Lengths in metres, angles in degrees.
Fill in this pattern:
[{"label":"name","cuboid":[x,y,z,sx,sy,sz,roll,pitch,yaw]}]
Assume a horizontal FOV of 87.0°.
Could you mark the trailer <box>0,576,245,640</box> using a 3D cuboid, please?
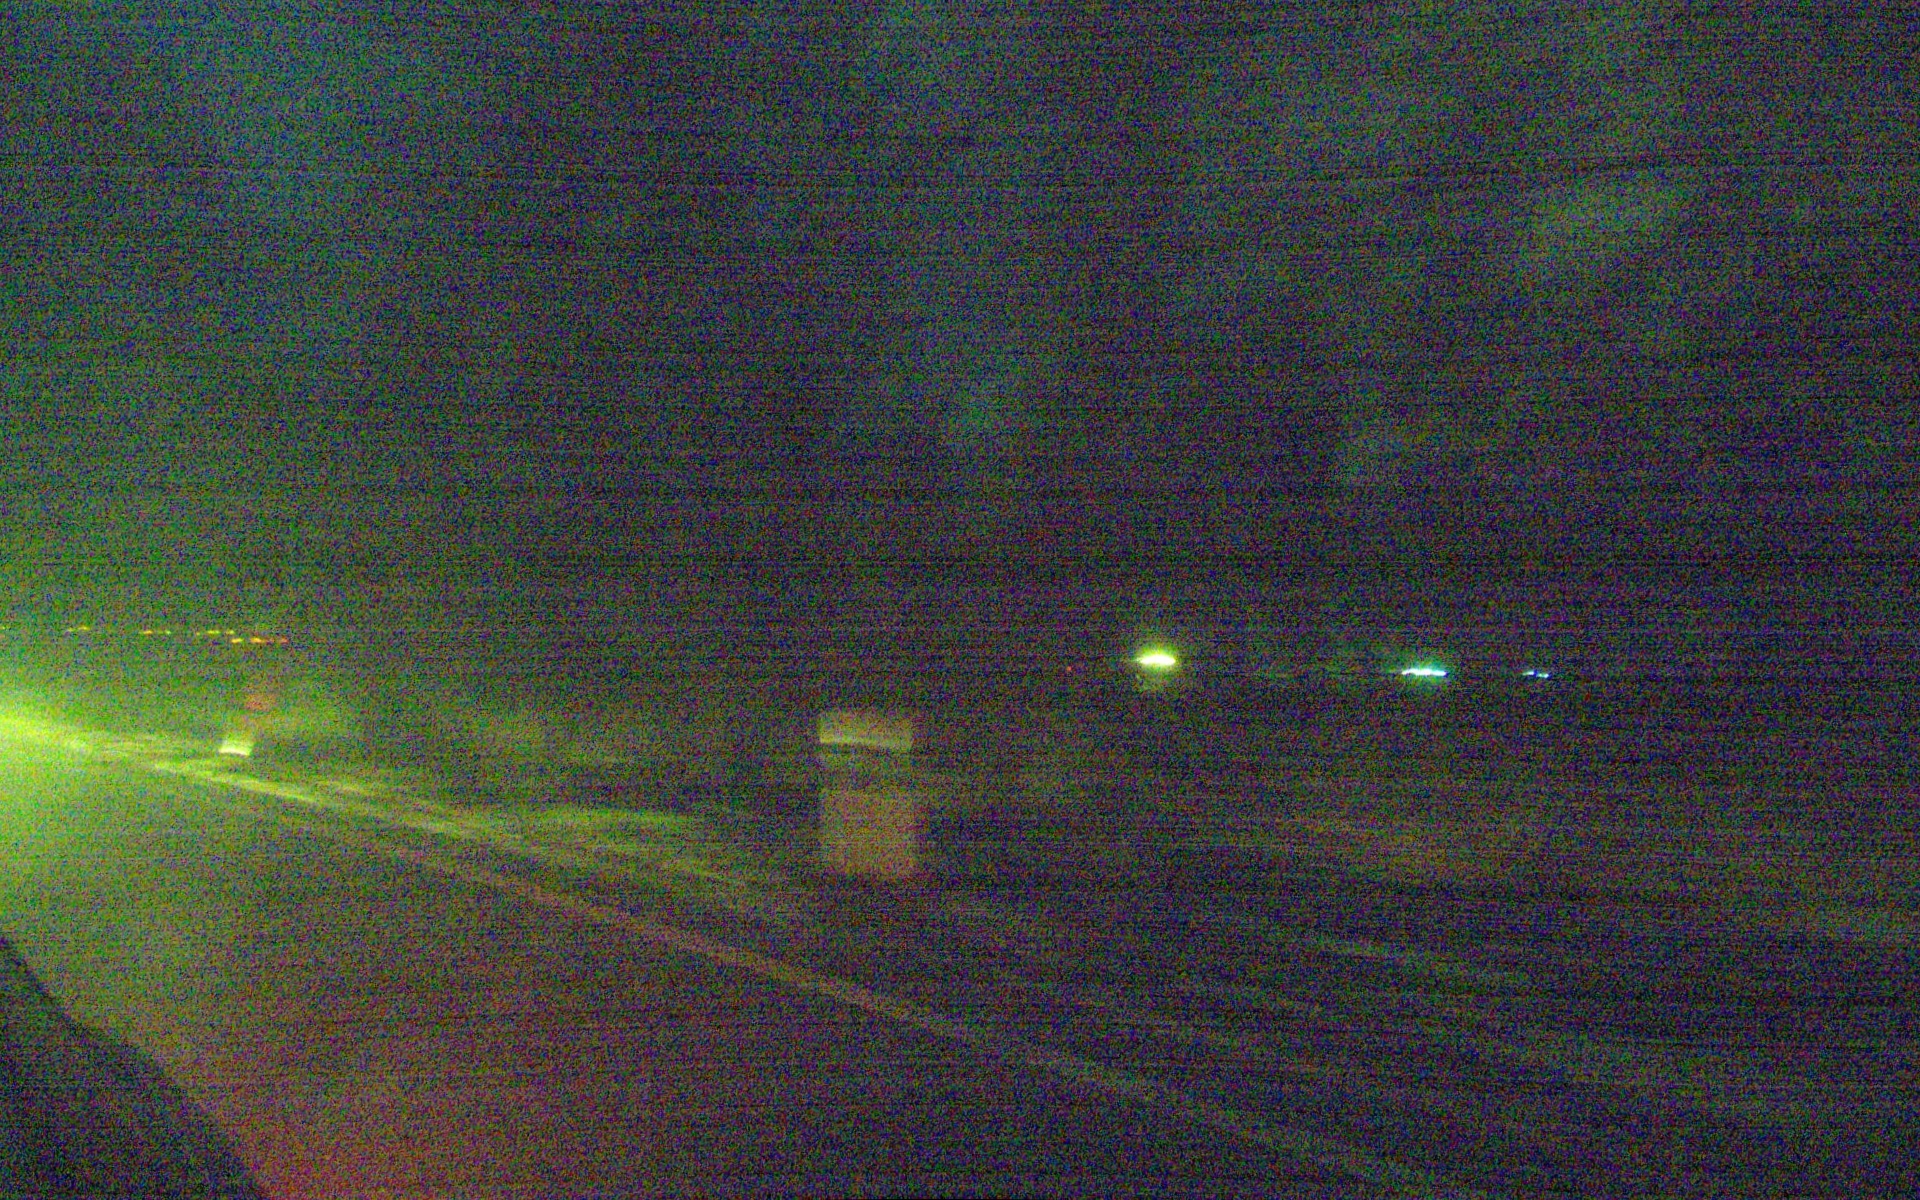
[{"label":"trailer","cuboid":[-44.535,0.365,51.901,12.792,2.749,2.006,3,-2,-16]}]
